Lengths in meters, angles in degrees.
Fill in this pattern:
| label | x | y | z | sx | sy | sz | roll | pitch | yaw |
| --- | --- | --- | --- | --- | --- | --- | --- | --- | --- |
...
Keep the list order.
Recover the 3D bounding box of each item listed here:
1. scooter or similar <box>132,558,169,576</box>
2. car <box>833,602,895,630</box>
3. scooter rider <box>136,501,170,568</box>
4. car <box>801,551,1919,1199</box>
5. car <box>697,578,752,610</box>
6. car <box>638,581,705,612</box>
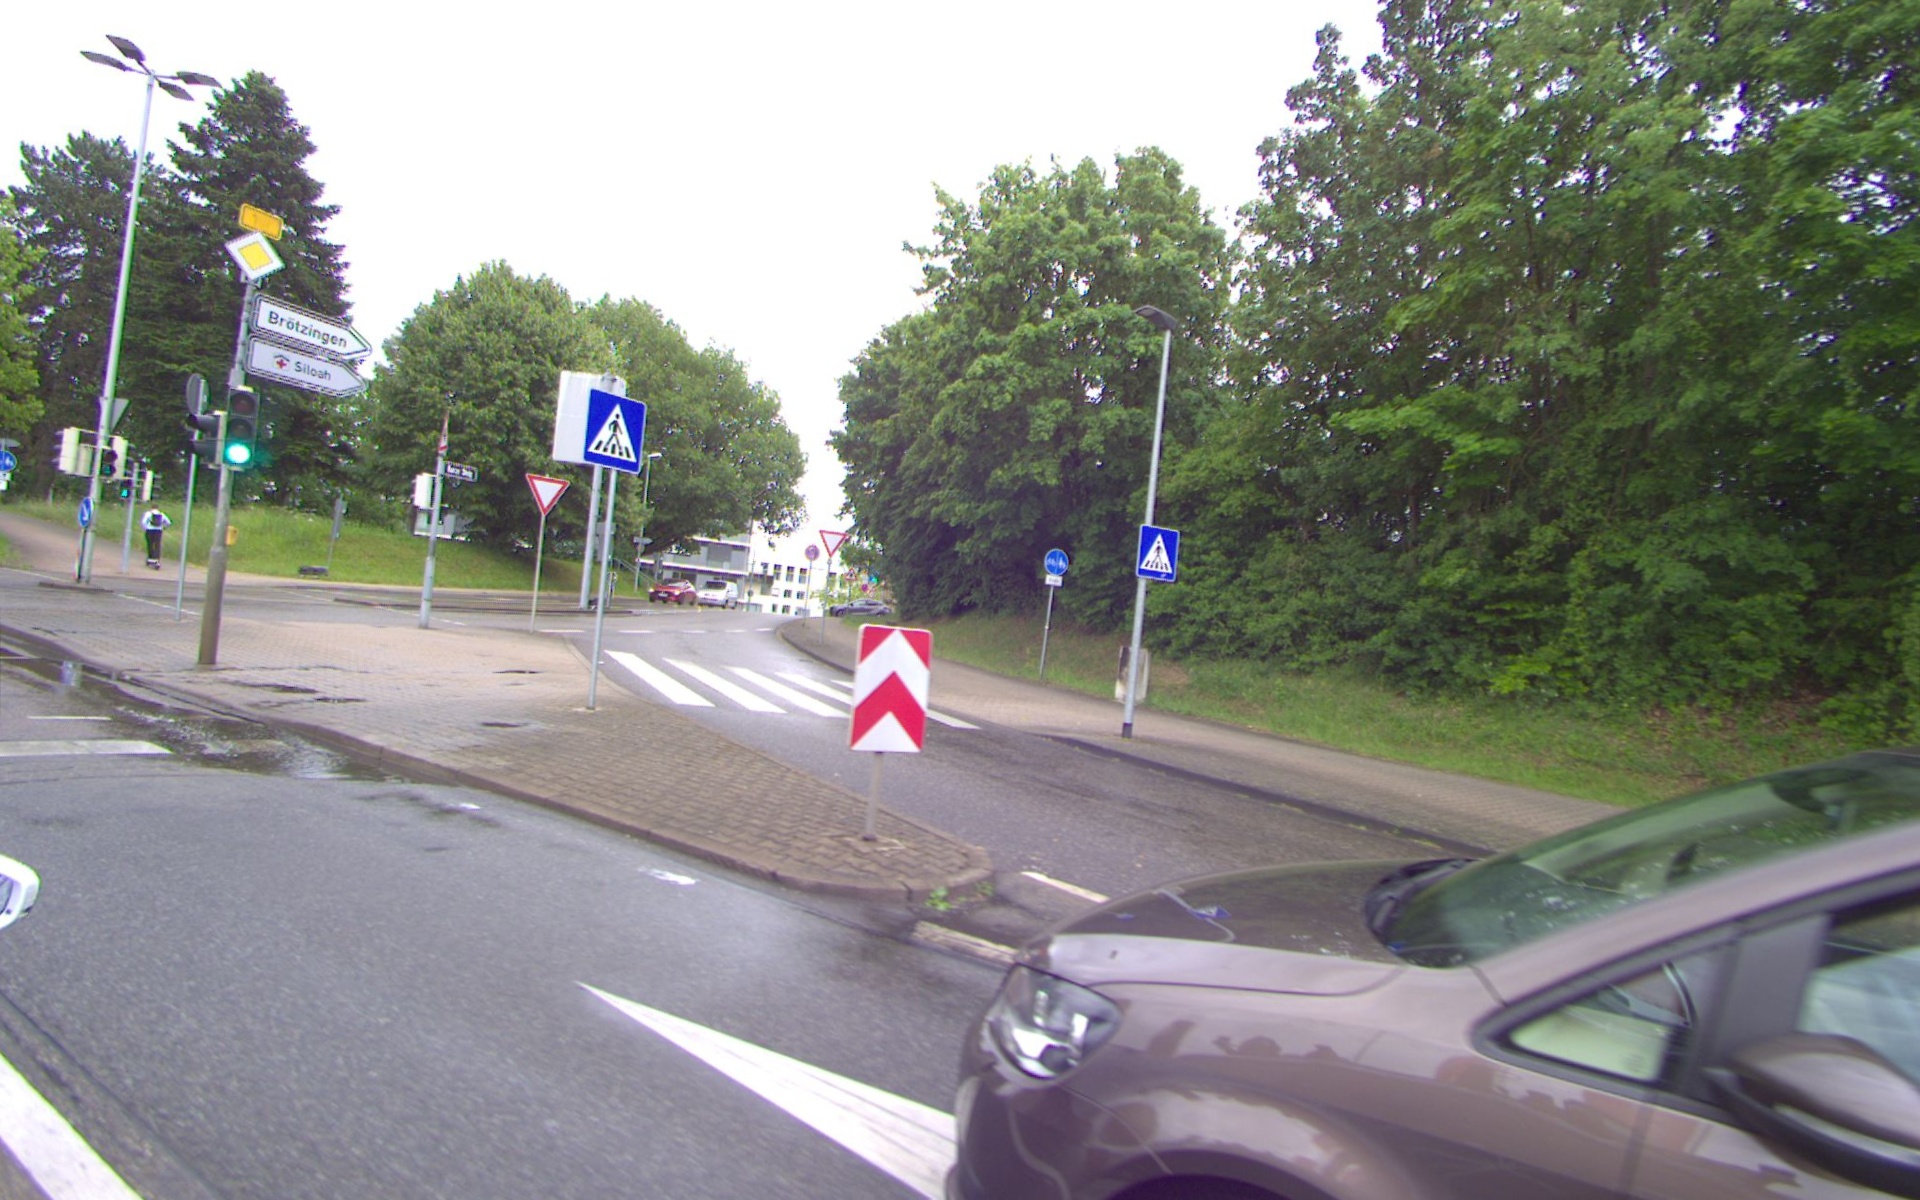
| label | x | y | z | sx | sy | sz | roll | pitch | yaw |
| --- | --- | --- | --- | --- | --- | --- | --- | --- | --- |
| scooter or similar | -25.091 | -1.032 | 31.181 | 1.235 | 0.408 | 0.487 | 7 | 0 | 31 |
| car | -6.308 | 1.033 | 66.235 | 3.927 | 1.447 | 1.851 | 5 | 0 | -5 |
| scooter rider | -25.030 | -2.028 | 31.196 | 0.538 | 1.990 | 0.501 | 7 | 1 | 31 |
| car | 1.843 | 0.974 | 1.649 | 3.915 | 1.628 | 1.750 | 6 | -2 | 32 |
| car | -15.757 | -0.365 | 67.509 | 1.817 | 1.883 | 4.000 | 5 | 0 | 14 |
| car | -15.882 | -0.165 | 55.653 | 1.817 | 1.446 | 4.001 | 5 | 0 | 12 |
